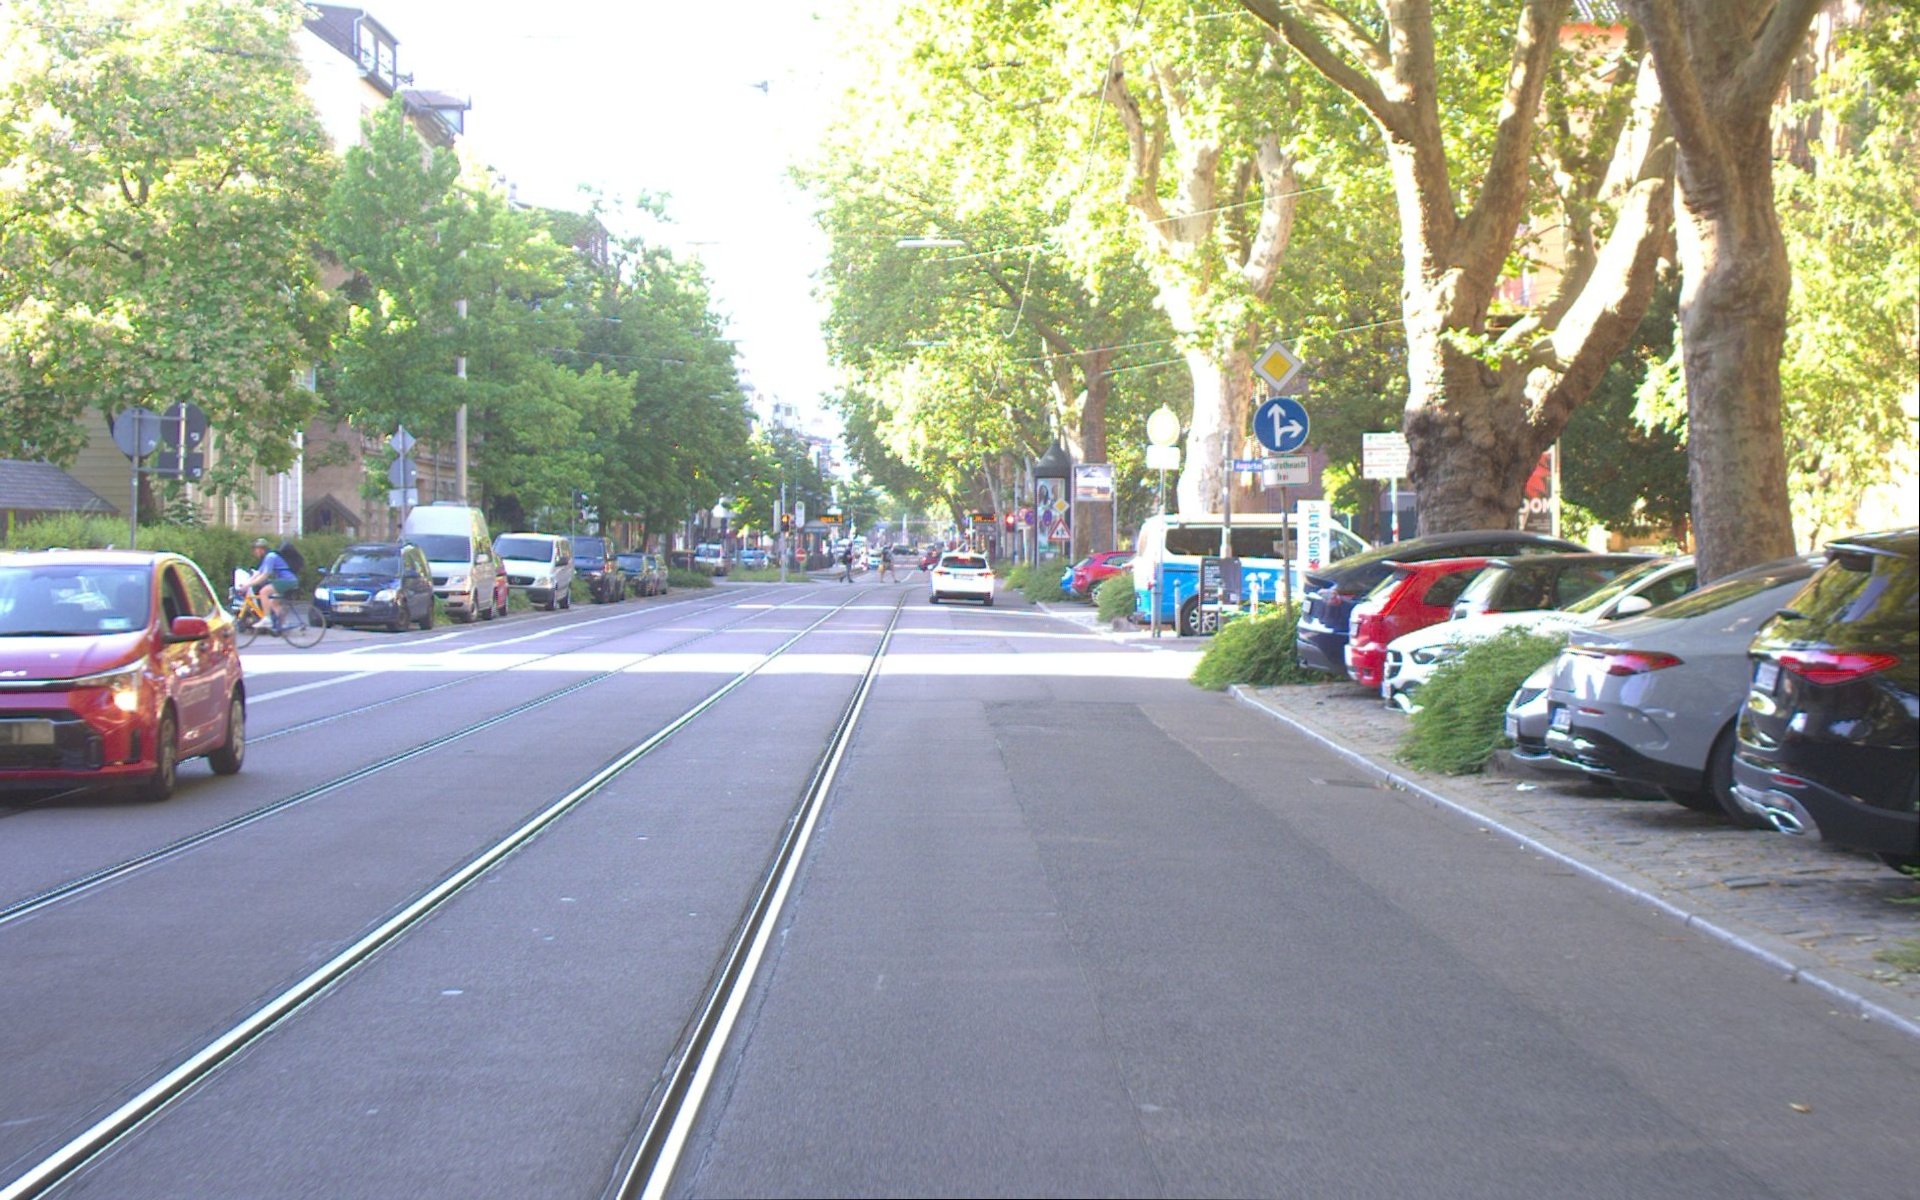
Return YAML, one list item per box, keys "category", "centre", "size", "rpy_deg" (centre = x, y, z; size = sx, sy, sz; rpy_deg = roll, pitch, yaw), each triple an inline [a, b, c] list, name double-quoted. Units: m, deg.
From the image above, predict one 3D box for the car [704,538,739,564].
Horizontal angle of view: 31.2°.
- category: "car"
  centre: [-14.019, -2.892, 202.347]
  size: [1.918, 1.414, 3.591]
  rpy_deg: [-2, 0, -5]

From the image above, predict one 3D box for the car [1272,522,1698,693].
- category: "car"
  centre: [5.220, 0.060, 34.522]
  size: [3.923, 1.664, 1.961]
  rpy_deg: [0, 1, -2]

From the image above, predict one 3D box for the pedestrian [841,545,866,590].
- category: "pedestrian"
  centre: [-4.818, -1.455, 154.963]
  size: [1.048, 2.007, 1.081]
  rpy_deg: [0, 1, 3]

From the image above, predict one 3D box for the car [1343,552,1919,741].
- category: "car"
  centre: [5.508, 0.347, 27.434]
  size: [4.686, 1.441, 1.892]
  rpy_deg: [0, 1, 0]

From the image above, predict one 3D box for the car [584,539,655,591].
- category: "car"
  centre: [-11.620, -1.228, 117.500]
  size: [1.993, 1.739, 4.659]
  rpy_deg: [0, 1, -1]

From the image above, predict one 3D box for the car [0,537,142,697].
- category: "car"
  centre: [-10.037, 0.112, 36.096]
  size: [1.836, 1.463, 5.070]
  rpy_deg: [3, 1, -3]

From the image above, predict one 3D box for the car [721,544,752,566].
- category: "car"
  centre: [-14.321, -2.882, 220.198]
  size: [1.918, 1.414, 3.591]
  rpy_deg: [0, 1, -3]

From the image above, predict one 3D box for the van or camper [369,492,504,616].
- category: "van or camper"
  centre: [-10.984, -0.974, 72.480]
  size: [2.079, 2.524, 5.318]
  rpy_deg: [0, 1, -1]

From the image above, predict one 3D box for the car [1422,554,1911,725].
- category: "car"
  centre: [6.080, 0.322, 29.888]
  size: [3.882, 1.430, 1.754]
  rpy_deg: [0, 1, 0]

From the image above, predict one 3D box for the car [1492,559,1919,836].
- category: "car"
  centre: [5.264, 0.503, 19.029]
  size: [4.295, 1.434, 1.948]
  rpy_deg: [0, 1, -1]

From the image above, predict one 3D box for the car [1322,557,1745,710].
- category: "car"
  centre: [5.329, 0.296, 32.302]
  size: [3.650, 1.373, 1.890]
  rpy_deg: [0, 1, 0]

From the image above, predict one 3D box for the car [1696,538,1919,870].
- category: "car"
  centre: [5.615, 0.469, 16.807]
  size: [3.678, 1.541, 1.777]
  rpy_deg: [0, 1, 2]

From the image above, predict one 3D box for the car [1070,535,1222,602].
- category: "car"
  centre: [5.015, -0.854, 93.073]
  size: [3.987, 1.778, 2.000]
  rpy_deg: [0, 1, 0]

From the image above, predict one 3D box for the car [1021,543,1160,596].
- category: "car"
  centre: [3.804, -0.902, 100.926]
  size: [3.987, 1.515, 2.000]
  rpy_deg: [0, 1, 0]

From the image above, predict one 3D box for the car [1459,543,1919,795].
- category: "car"
  centre: [5.327, 0.402, 21.505]
  size: [4.142, 1.504, 1.796]
  rpy_deg: [0, 1, 0]

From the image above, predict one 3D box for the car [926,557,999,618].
- category: "car"
  centre: [0.056, -0.353, 94.349]
  size: [1.918, 1.579, 3.791]
  rpy_deg: [-1, 1, -1]

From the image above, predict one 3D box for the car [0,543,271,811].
- category: "car"
  centre: [-5.450, 0.403, 21.134]
  size: [1.663, 1.474, 3.951]
  rpy_deg: [-1, 1, -1]

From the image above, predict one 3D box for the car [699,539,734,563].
- category: "car"
  centre: [-14.032, -2.834, 198.101]
  size: [1.918, 1.414, 3.591]
  rpy_deg: [0, 1, -3]

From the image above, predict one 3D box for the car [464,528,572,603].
- category: "car"
  centre: [-11.177, -0.887, 87.160]
  size: [2.173, 1.854, 4.659]
  rpy_deg: [0, 1, -1]

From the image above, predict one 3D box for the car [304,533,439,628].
- category: "car"
  centre: [-10.784, -0.392, 63.253]
  size: [1.787, 1.581, 4.344]
  rpy_deg: [3, 1, -2]

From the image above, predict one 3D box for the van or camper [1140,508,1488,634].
- category: "van or camper"
  centre: [5.973, -0.515, 58.431]
  size: [5.554, 2.006, 2.245]
  rpy_deg: [0, 4, -5]

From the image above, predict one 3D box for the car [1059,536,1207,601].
- category: "car"
  centre: [4.771, -0.889, 95.356]
  size: [3.987, 1.778, 2.000]
  rpy_deg: [0, 1, 0]

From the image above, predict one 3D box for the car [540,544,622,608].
- category: "car"
  centre: [-11.182, -0.719, 101.580]
  size: [1.993, 1.854, 4.179]
  rpy_deg: [0, 1, -1]

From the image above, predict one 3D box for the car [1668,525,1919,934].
- category: "car"
  centre: [5.428, 0.445, 14.501]
  size: [4.497, 1.596, 2.027]
  rpy_deg: [-2, 1, 4]

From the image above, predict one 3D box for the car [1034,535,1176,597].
- category: "car"
  centre: [4.141, -0.982, 98.618]
  size: [3.987, 1.778, 2.000]
  rpy_deg: [0, 1, 0]

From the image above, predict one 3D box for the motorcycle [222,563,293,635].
- category: "motorcycle"
  centre: [-12.074, -0.033, 59.144]
  size: [0.763, 1.103, 2.330]
  rpy_deg: [1, 3, -1]

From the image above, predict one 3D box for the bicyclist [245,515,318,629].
- category: "bicyclist"
  centre: [-10.168, -0.427, 51.579]
  size: [1.045, 1.700, 1.058]
  rpy_deg: [0, 1, -10]

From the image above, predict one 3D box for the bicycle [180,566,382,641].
- category: "bicycle"
  centre: [-10.175, 0.050, 51.603]
  size: [2.947, 1.101, 1.052]
  rpy_deg: [0, 1, -10]

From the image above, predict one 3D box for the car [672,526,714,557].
- category: "car"
  centre: [-12.879, -2.816, 165.741]
  size: [1.918, 1.414, 3.721]
  rpy_deg: [0, 0, -3]

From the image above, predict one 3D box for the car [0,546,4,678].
- category: "car"
  centre: [-9.997, 0.239, 31.412]
  size: [1.572, 1.521, 3.040]
  rpy_deg: [2, 1, 1]
